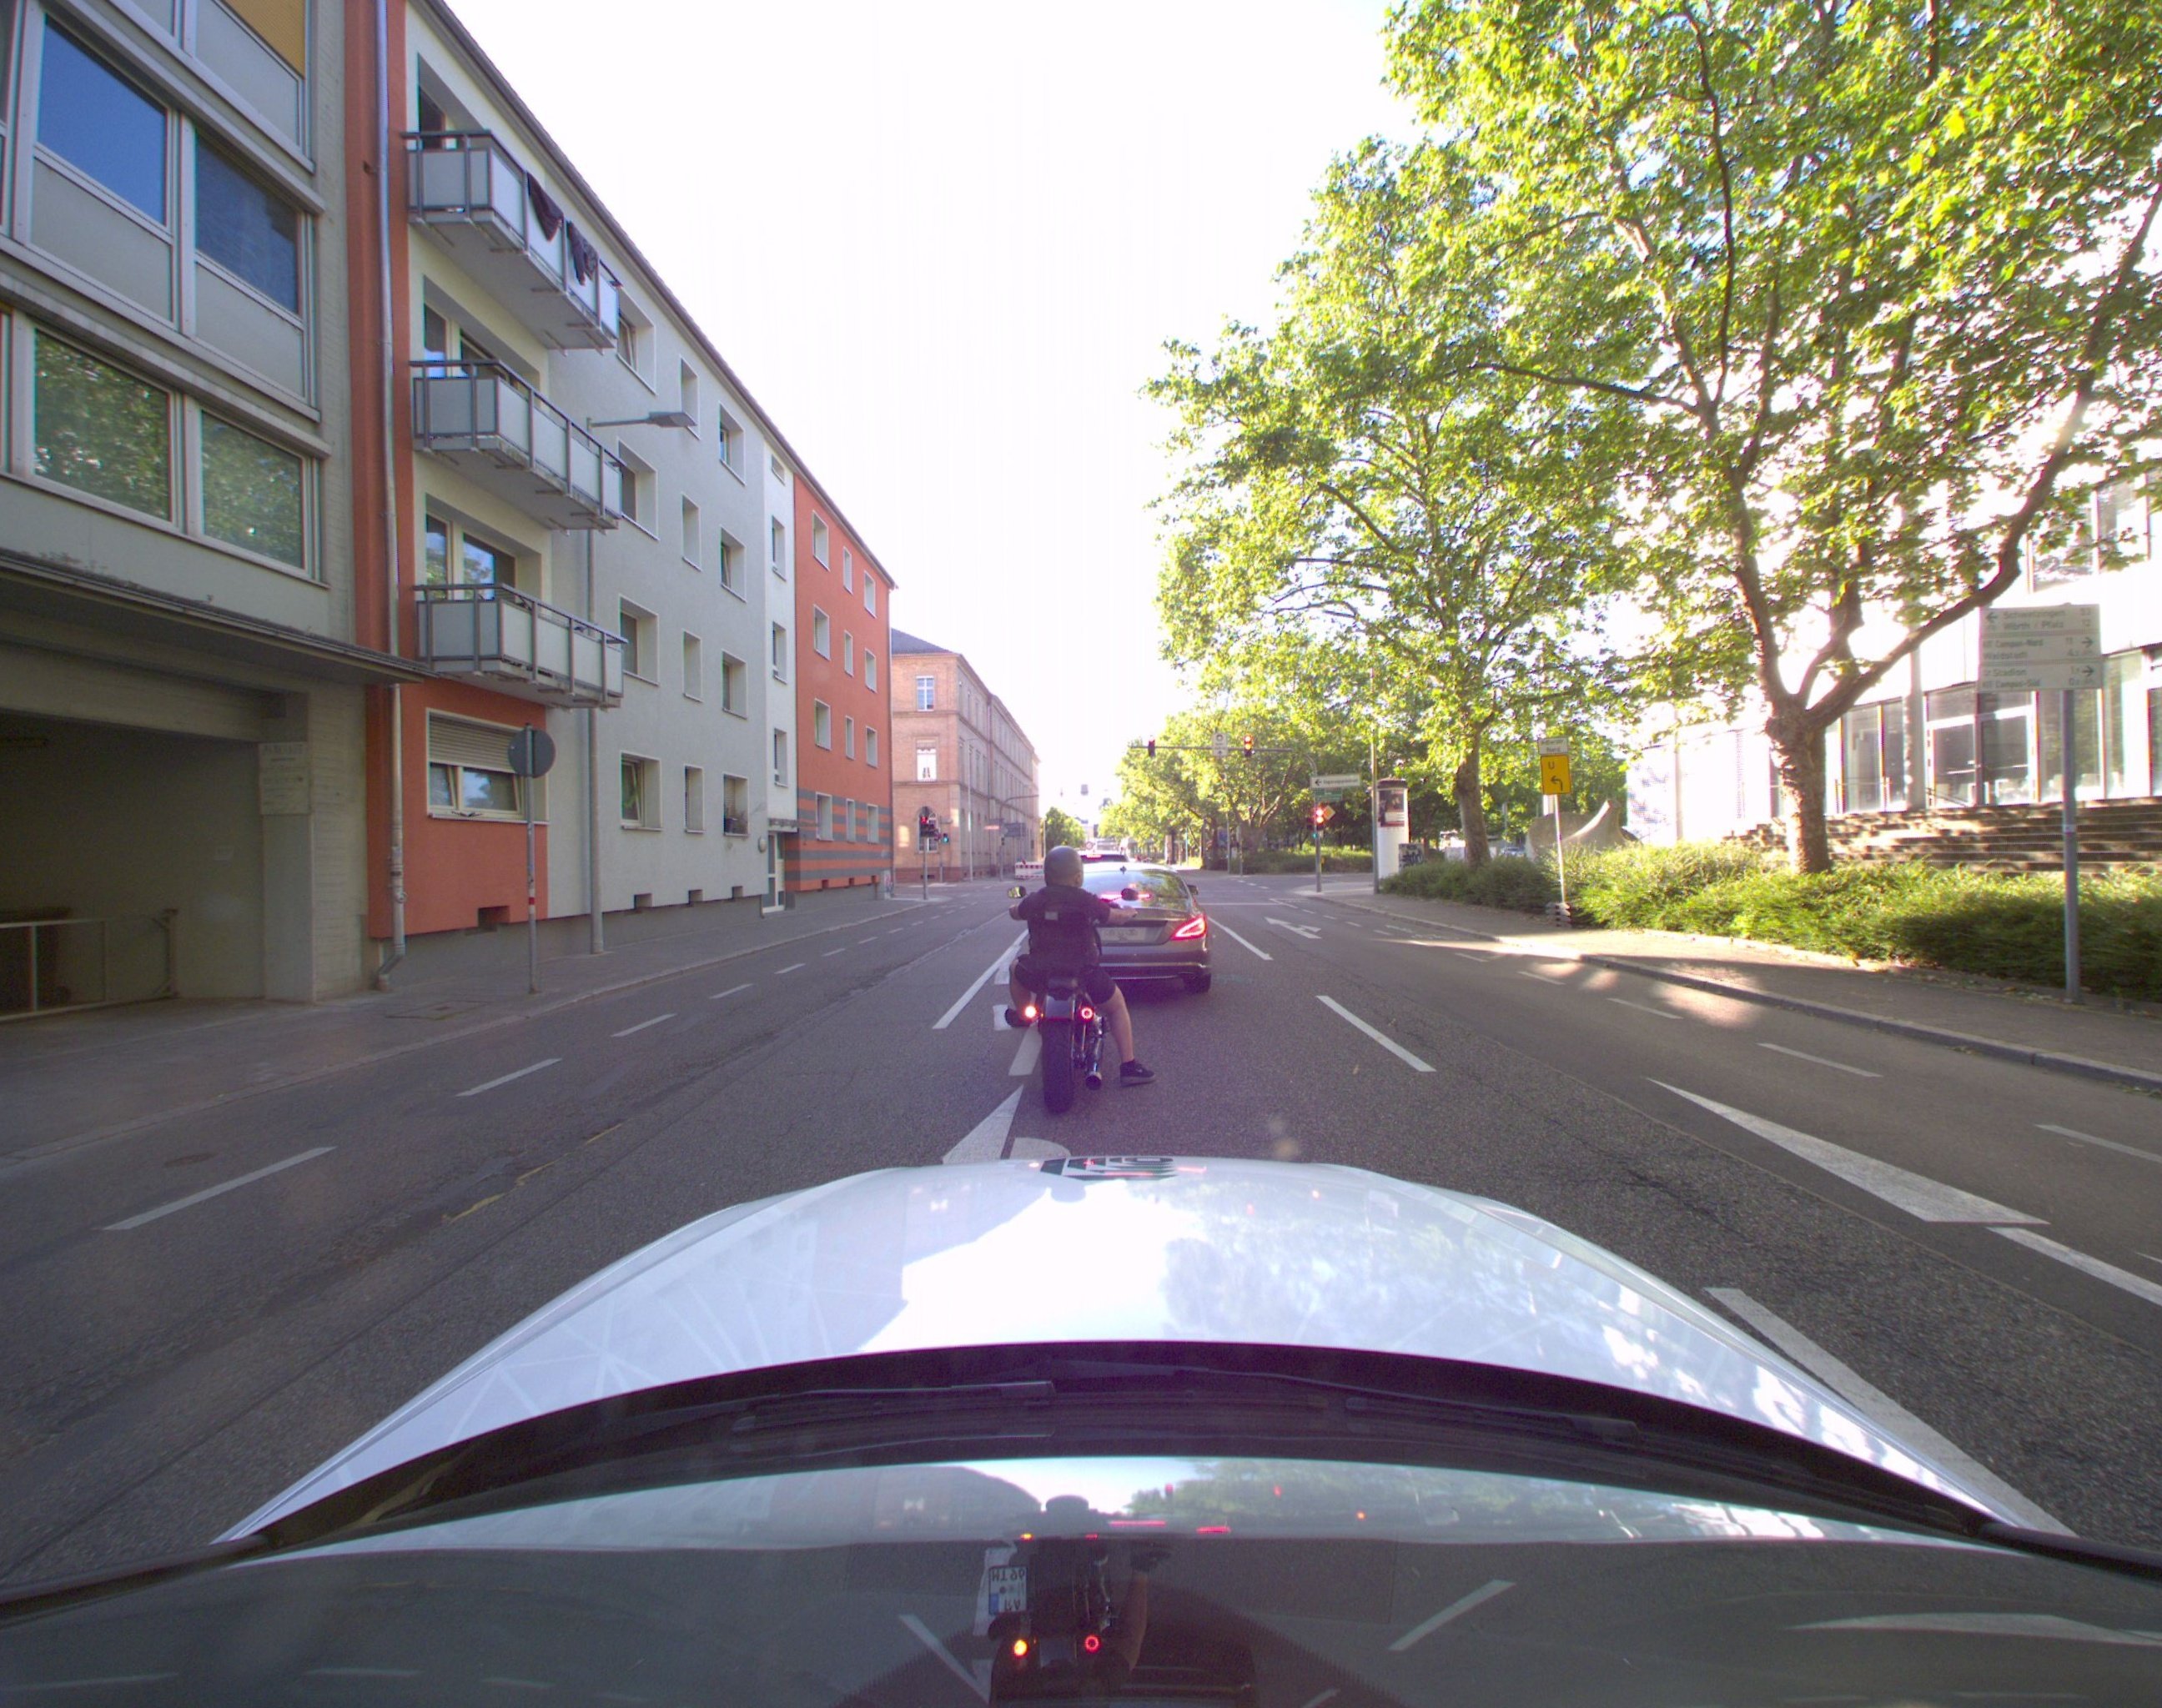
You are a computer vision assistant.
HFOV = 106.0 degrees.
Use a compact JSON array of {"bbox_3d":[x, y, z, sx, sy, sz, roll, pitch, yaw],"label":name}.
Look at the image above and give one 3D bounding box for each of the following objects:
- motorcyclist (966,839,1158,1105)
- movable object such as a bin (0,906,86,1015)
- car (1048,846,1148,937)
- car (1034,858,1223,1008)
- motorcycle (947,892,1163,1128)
[{"bbox_3d":[-0.073,0.701,5.407,1.093,1.566,1.074,0,-1,8],"label":"motorcyclist"},{"bbox_3d":[-11.287,1.112,8.650,0.533,1.079,0.723,0,-1,3],"label":"movable object such as a bin"},{"bbox_3d":[0.378,0.708,17.071,1.856,1.678,4.001,0,-1,2],"label":"car"},{"bbox_3d":[0.517,0.776,9.783,1.815,1.437,3.807,0,-1,2],"label":"car"},{"bbox_3d":[-0.045,0.909,5.626,1.111,1.207,2.217,0,-1,8],"label":"motorcycle"}]
